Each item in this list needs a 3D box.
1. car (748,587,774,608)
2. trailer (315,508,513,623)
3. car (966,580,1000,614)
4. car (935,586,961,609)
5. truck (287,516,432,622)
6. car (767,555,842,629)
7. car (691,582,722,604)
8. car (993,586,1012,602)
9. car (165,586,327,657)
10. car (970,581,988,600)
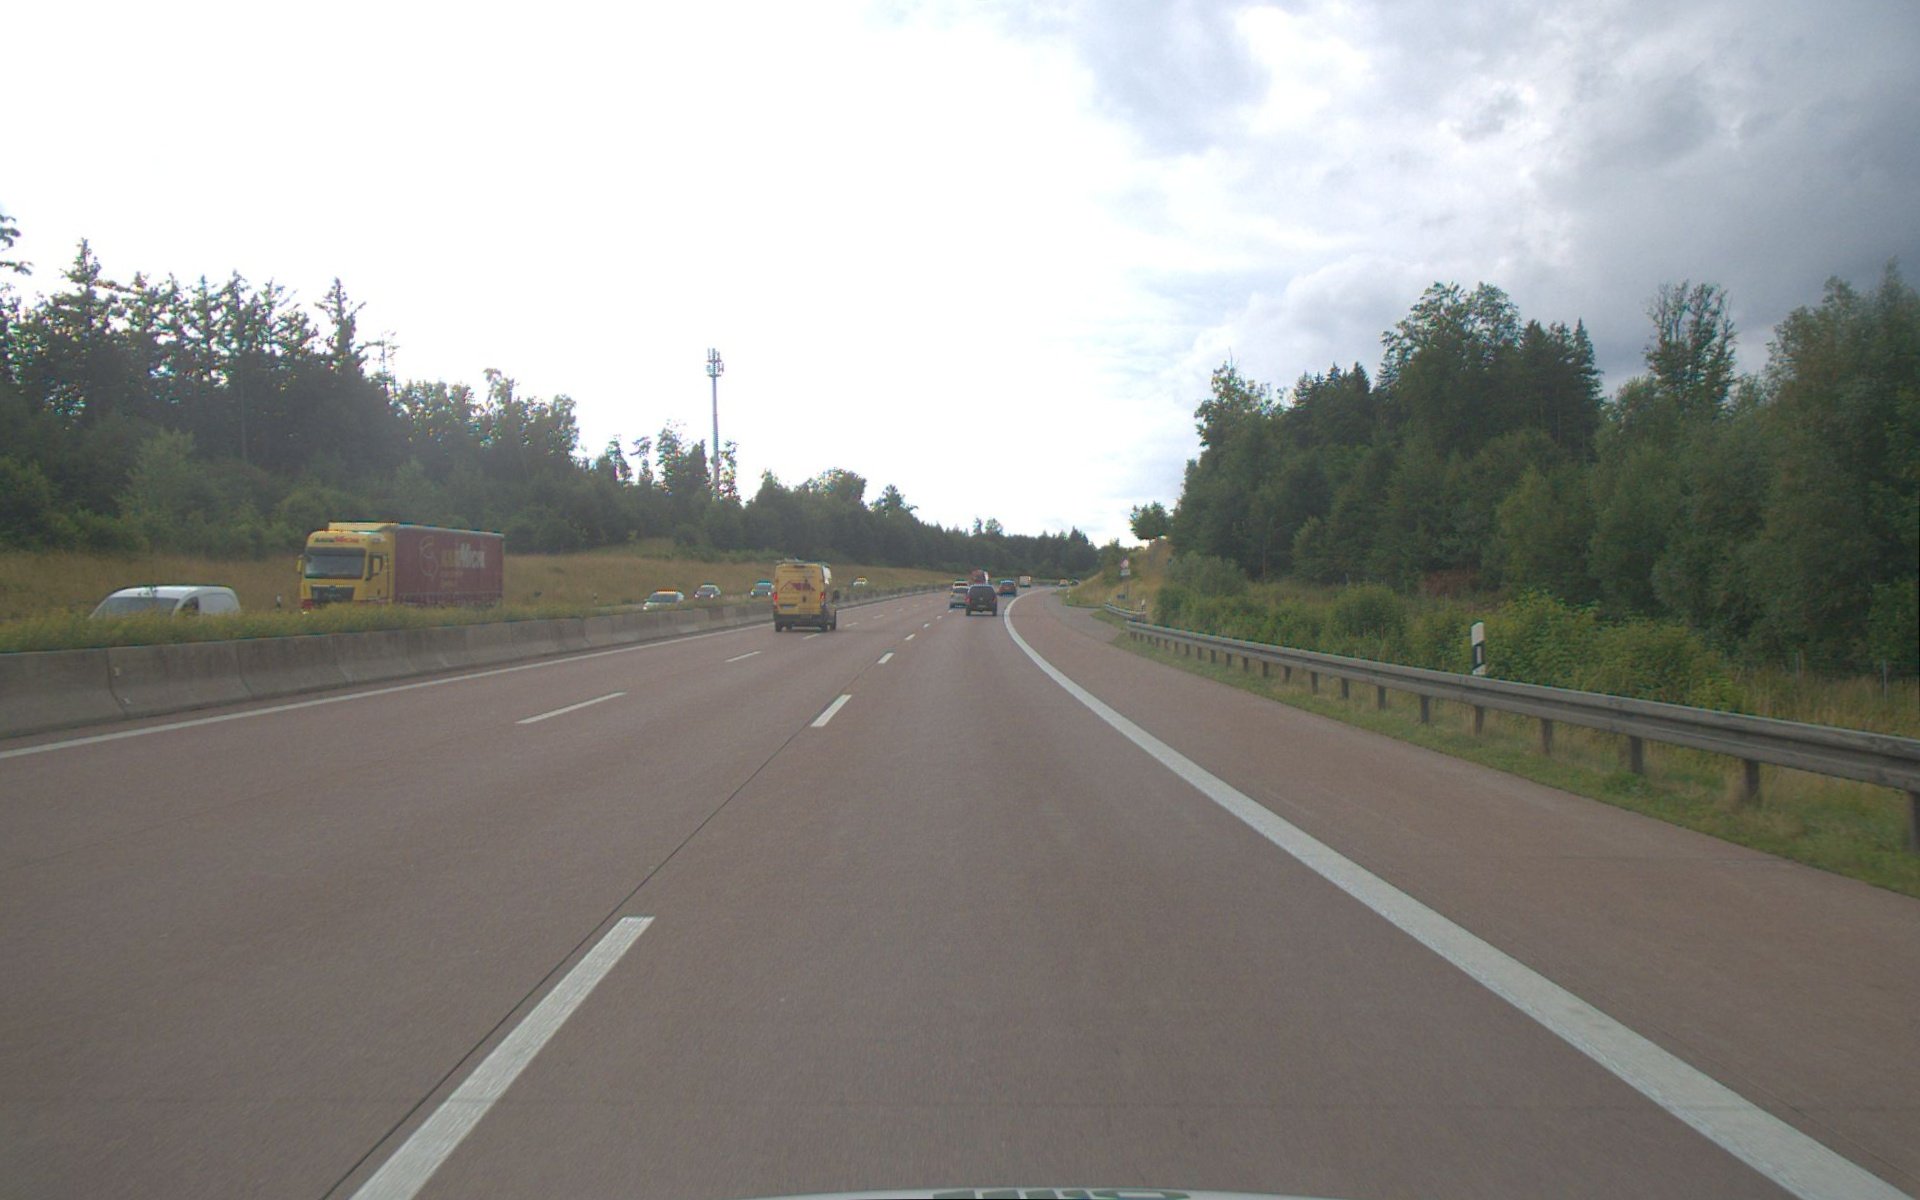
[{"bbox_3d":[-16.778,-0.180,139.801,1.726,1.667,4.379,1,-1,-1],"label":"car"},{"bbox_3d":[-22.003,-1.175,67.964,2.970,4.112,14.531,1,-1,1],"label":"trailer"},{"bbox_3d":[1.396,-0.153,100.105,2.002,1.930,5.577,0,-1,1],"label":"car"},{"bbox_3d":[-0.909,-0.188,123.203,1.937,1.677,4.618,0,-1,-1],"label":"car"},{"bbox_3d":[-22.154,-1.065,61.338,2.950,3.645,6.058,1,-1,1],"label":"truck"},{"bbox_3d":[-6.048,-0.280,64.910,2.408,2.754,5.613,0,-1,0],"label":"car"},{"bbox_3d":[-20.390,-0.561,133.068,1.726,1.667,4.381,1,-1,1],"label":"car"},{"bbox_3d":[4.636,-0.654,181.947,1.937,1.677,4.618,0,-1,0],"label":"car"},{"bbox_3d":[-15.086,0.429,35.164,1.705,1.427,4.030,0,0,-1],"label":"car"},{"bbox_3d":[2.537,-1.233,217.731,2.194,2.472,6.207,0,0,3],"label":"car"}]
